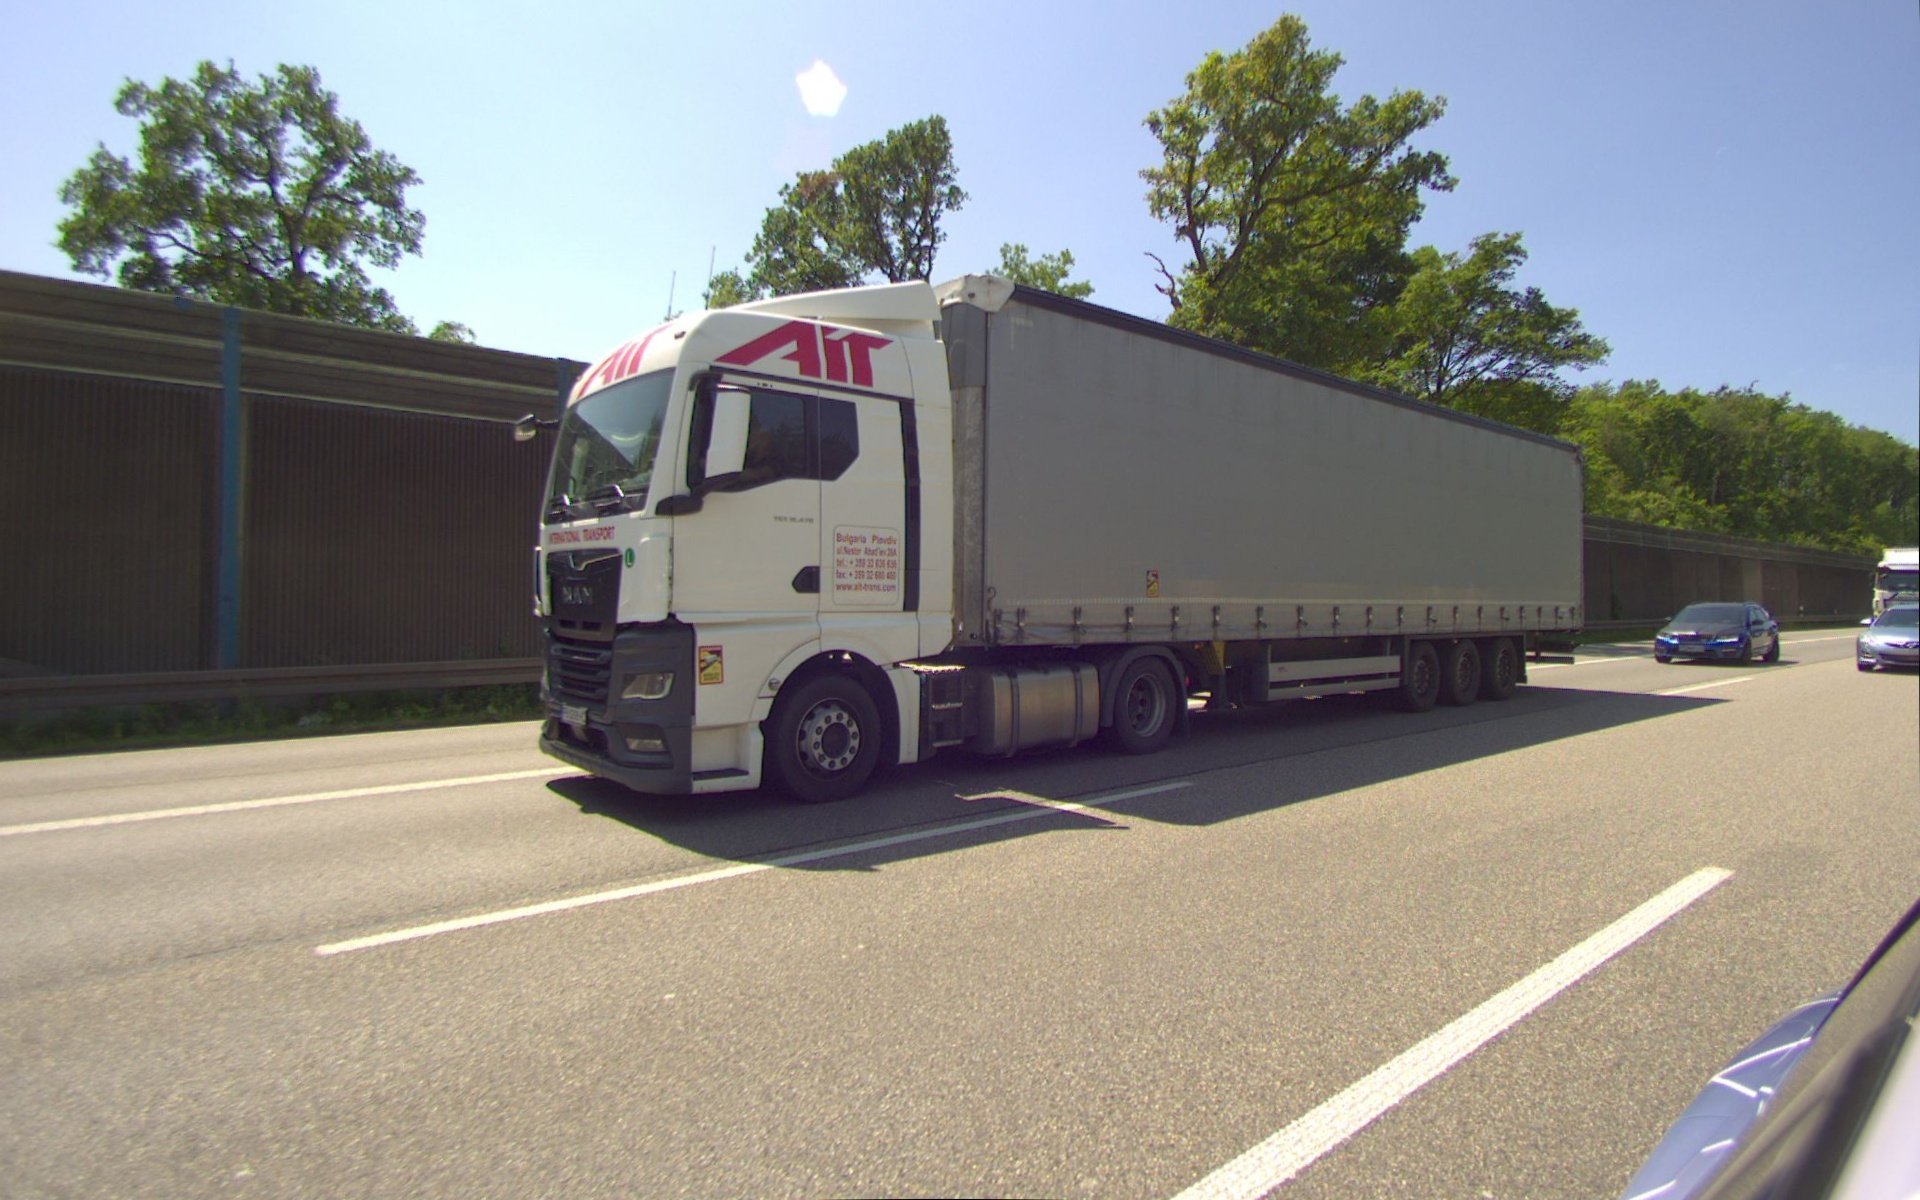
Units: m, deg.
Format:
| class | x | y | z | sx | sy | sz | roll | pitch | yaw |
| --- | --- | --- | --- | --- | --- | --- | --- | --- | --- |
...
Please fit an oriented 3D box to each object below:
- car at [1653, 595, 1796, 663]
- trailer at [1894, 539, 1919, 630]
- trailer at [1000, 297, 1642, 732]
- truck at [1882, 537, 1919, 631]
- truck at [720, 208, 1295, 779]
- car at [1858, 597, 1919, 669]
| class | x | y | z | sx | sy | sz | roll | pitch | yaw |
| --- | --- | --- | --- | --- | --- | --- | --- | --- | --- |
| car | 18.436 | 0.642 | 24.351 | 4.102 | 1.512 | 1.860 | 0 | -1 | -40 |
| trailer | 50.802 | -0.736 | 51.345 | 13.216 | 4.269 | 2.821 | 0 | -1 | -38 |
| trailer | 6.388 | -0.884 | 14.966 | 13.351 | 4.142 | 2.603 | -1 | 0 | -40 |
| truck | 45.646 | -0.727 | 47.354 | 5.321 | 4.269 | 2.812 | 0 | -1 | -38 |
| truck | 0.697 | -0.802 | 10.114 | 5.455 | 4.142 | 2.603 | 0 | 0 | -41 |
| car | 20.956 | 0.660 | 21.748 | 4.102 | 1.452 | 1.860 | 0 | -1 | -40 |
